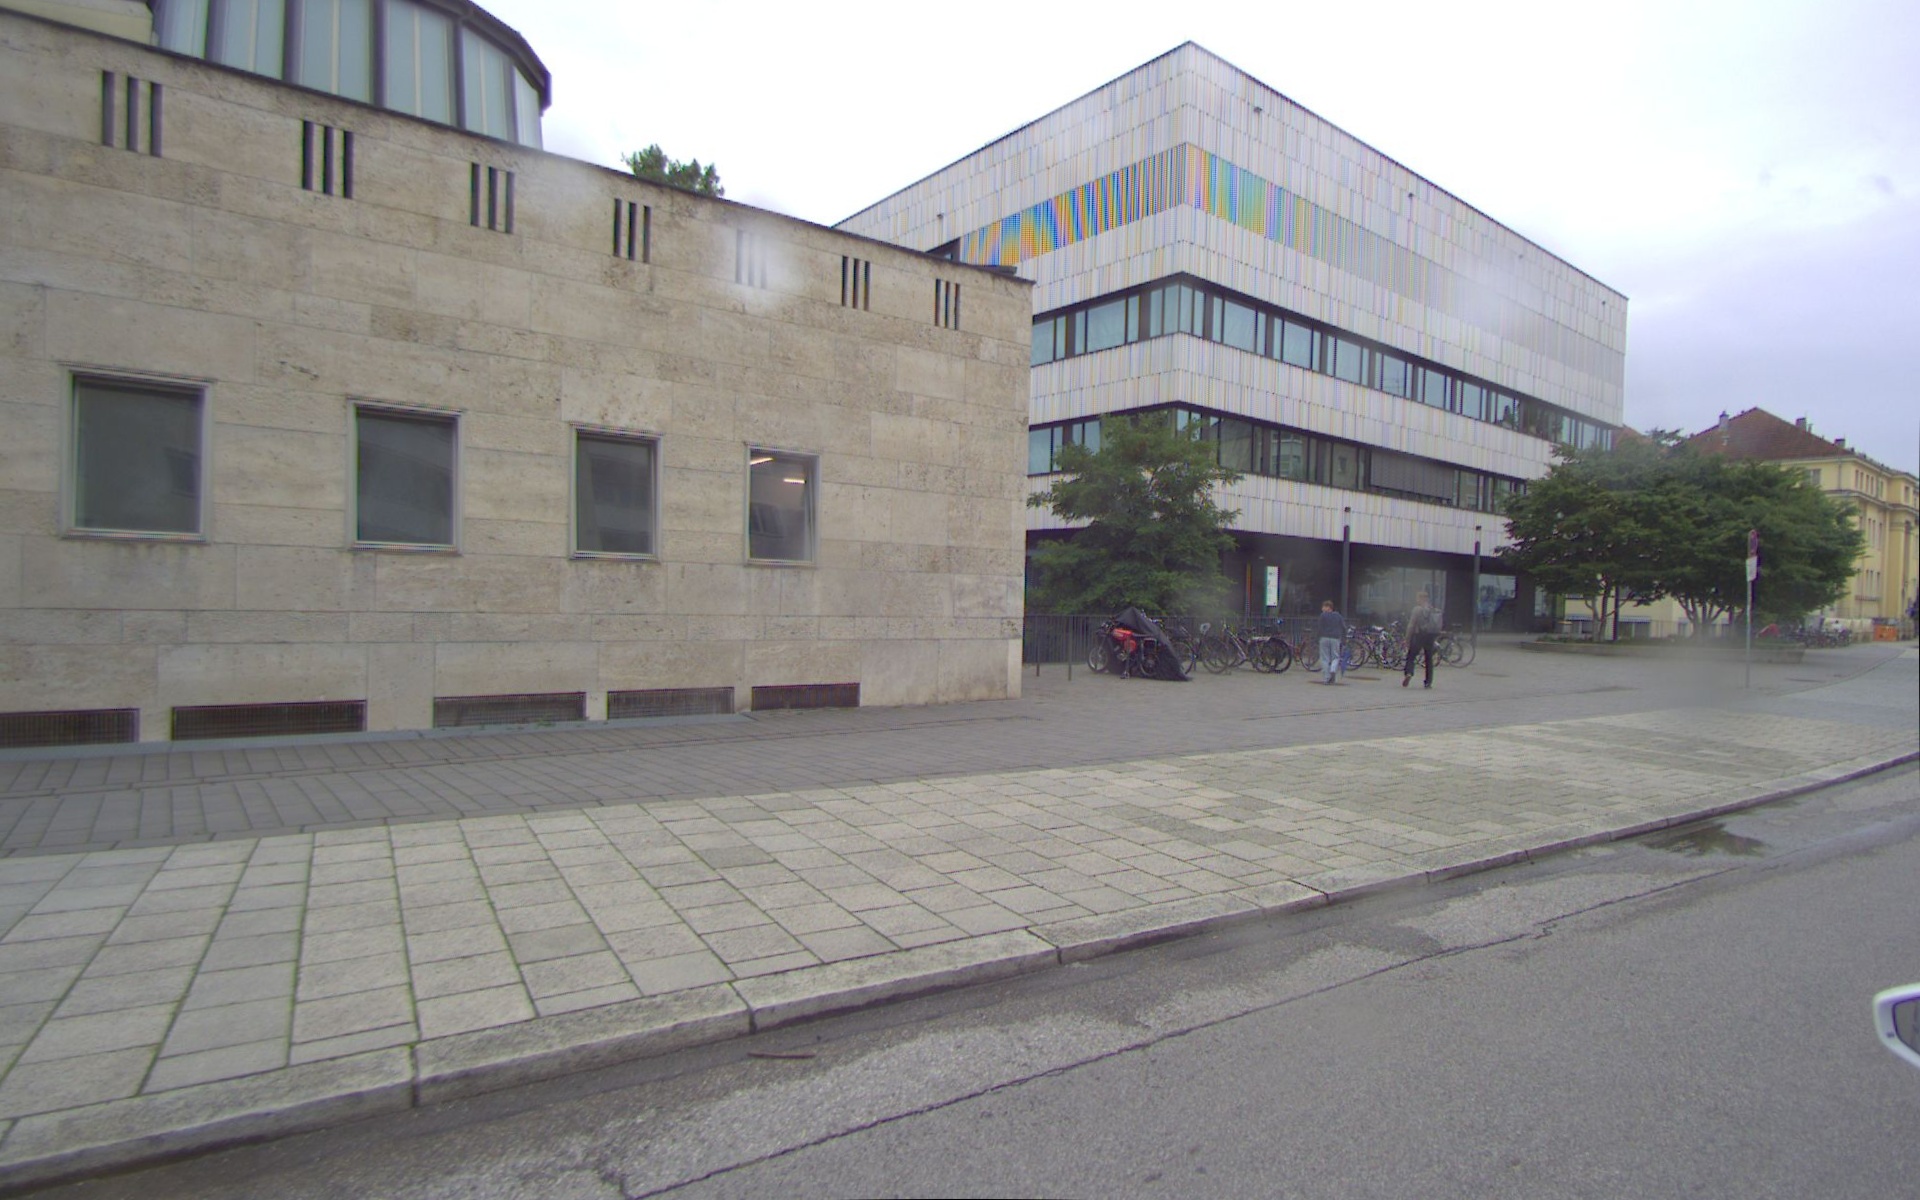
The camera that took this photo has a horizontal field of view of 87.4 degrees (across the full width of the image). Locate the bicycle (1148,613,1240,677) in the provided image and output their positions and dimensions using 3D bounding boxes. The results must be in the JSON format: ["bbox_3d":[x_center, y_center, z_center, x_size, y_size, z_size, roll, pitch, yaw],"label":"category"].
[{"bbox_3d":[4.791,0.890,20.709,0.609,1.126,2.036,1,3,-28],"label":"bicycle"}]

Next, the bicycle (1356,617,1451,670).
[{"bbox_3d":[10.972,1.054,24.910,0.612,1.126,2.026,0,3,-42],"label":"bicycle"}]

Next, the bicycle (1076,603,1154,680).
[{"bbox_3d":[2.823,0.744,18.430,0.459,1.277,1.438,0,3,-39],"label":"bicycle"}]

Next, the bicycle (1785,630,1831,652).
[{"bbox_3d":[47.332,2.266,56.080,0.534,1.043,1.854,0,3,-35],"label":"bicycle"}]

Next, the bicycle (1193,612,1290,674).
[{"bbox_3d":[5.967,0.883,21.420,0.610,1.126,2.031,0,3,-35],"label":"bicycle"}]

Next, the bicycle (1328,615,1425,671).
[{"bbox_3d":[9.857,0.999,23.835,0.612,1.126,2.026,0,3,-42],"label":"bicycle"}]

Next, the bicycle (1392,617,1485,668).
[{"bbox_3d":[12.225,1.058,25.718,0.612,1.126,2.026,0,3,-42],"label":"bicycle"}]

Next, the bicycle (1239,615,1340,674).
[{"bbox_3d":[7.323,0.959,22.405,2.024,1.126,0.613,5,4,44],"label":"bicycle"}]

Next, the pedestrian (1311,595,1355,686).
[{"bbox_3d":[7.001,0.746,18.854,0.632,1.623,0.605,3,3,26],"label":"pedestrian"}]

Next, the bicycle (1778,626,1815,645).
[{"bbox_3d":[43.183,1.832,51.877,0.435,0.874,1.361,0,3,-38],"label":"bicycle"}]

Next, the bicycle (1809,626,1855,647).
[{"bbox_3d":[52.019,2.183,59.942,0.671,1.107,1.892,0,3,-35],"label":"bicycle"}]

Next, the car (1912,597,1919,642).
[{"bbox_3d":[61.182,1.294,62.742,2.395,2.751,5.919,1,-1,43],"label":"car"}]

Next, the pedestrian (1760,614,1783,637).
[{"bbox_3d":[42.358,1.326,52.429,1.032,1.178,0.712,0,3,-41],"label":"pedestrian"}]

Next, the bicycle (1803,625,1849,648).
[{"bbox_3d":[50.771,2.138,58.901,0.567,1.147,1.943,0,3,-35],"label":"bicycle"}]

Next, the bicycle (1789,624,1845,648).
[{"bbox_3d":[48.706,2.041,57.120,0.575,1.150,2.295,0,3,-35],"label":"bicycle"}]

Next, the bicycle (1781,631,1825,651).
[{"bbox_3d":[45.619,2.233,54.376,0.589,0.929,1.663,0,3,-35],"label":"bicycle"}]

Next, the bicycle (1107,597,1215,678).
[{"bbox_3d":[3.841,0.690,19.348,0.608,1.370,2.080,0,3,-39],"label":"bicycle"}]

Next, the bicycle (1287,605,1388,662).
[{"bbox_3d":[8.583,0.735,22.901,2.024,1.126,0.613,5,4,44],"label":"bicycle"}]

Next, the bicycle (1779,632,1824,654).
[{"bbox_3d":[46.662,2.382,55.710,0.502,1.047,1.779,0,3,-35],"label":"bicycle"}]

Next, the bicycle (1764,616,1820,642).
[{"bbox_3d":[44.107,1.530,53.261,0.779,1.244,2.091,0,3,-35],"label":"bicycle"}]

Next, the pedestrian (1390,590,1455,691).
[{"bbox_3d":[8.715,0.740,18.925,0.777,1.806,1.010,4,2,40],"label":"pedestrian"}]

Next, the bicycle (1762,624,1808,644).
[{"bbox_3d":[42.208,1.726,51.408,0.435,0.874,1.705,0,3,-38],"label":"bicycle"}]
